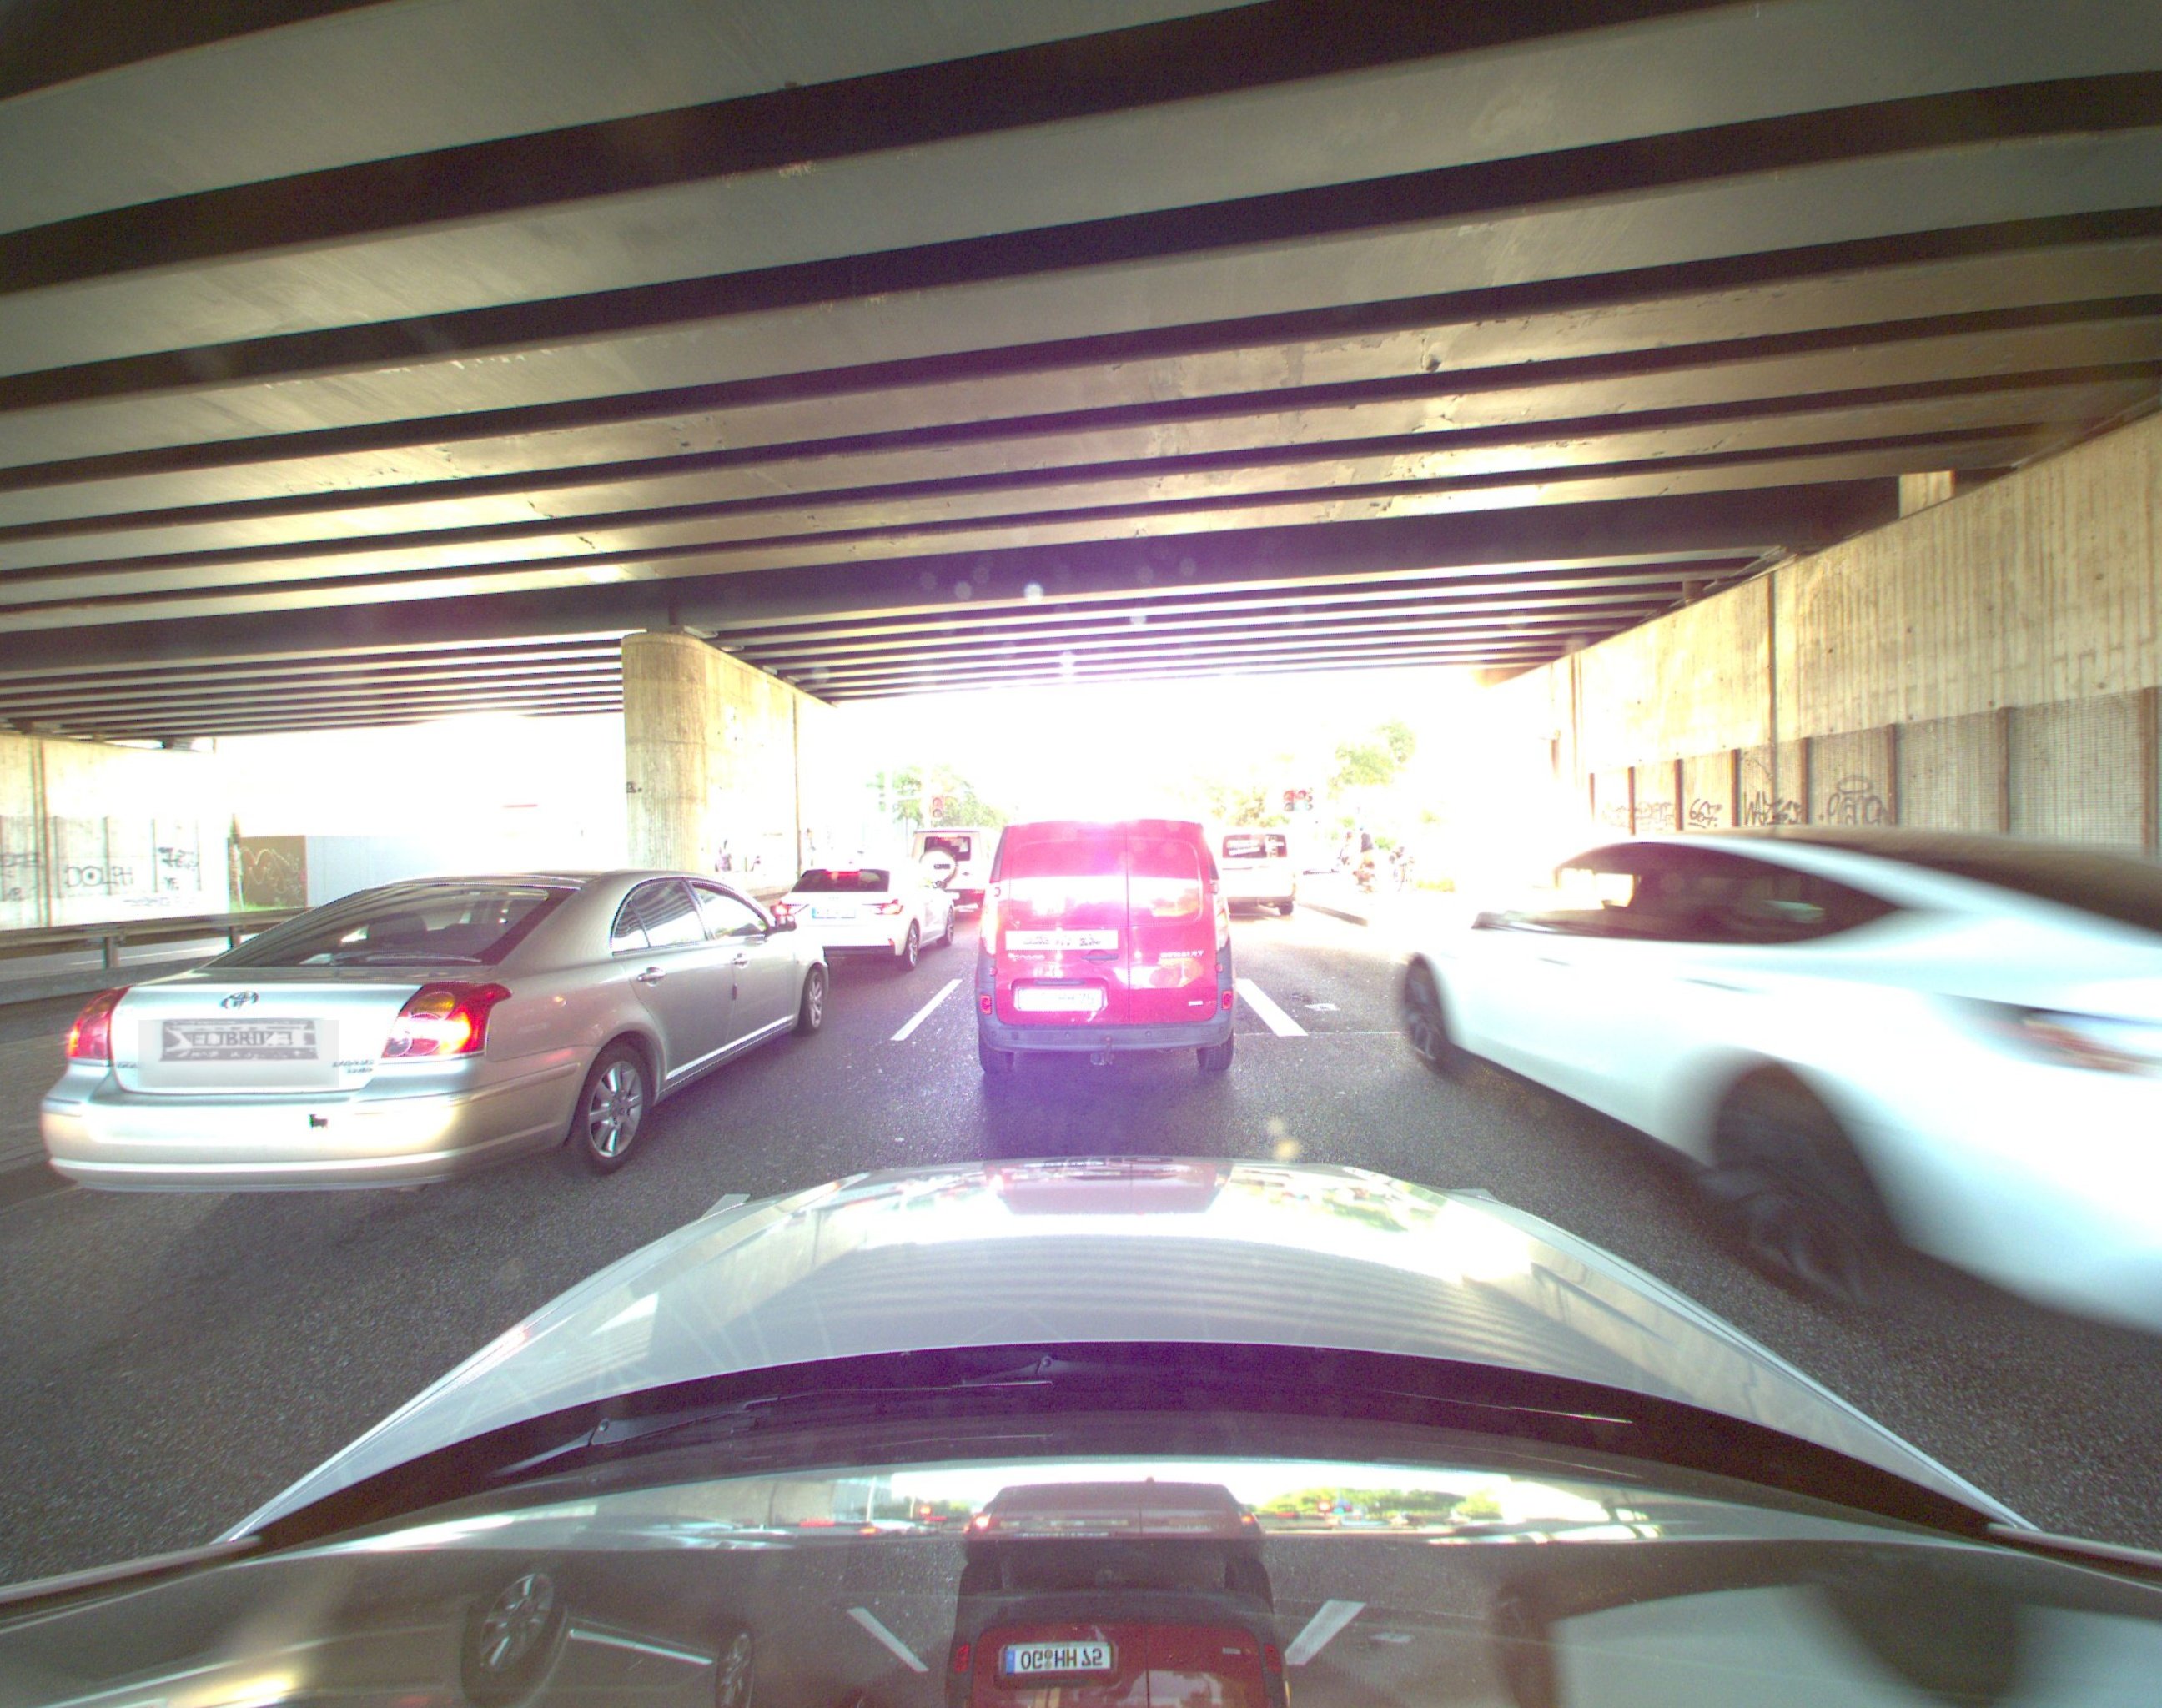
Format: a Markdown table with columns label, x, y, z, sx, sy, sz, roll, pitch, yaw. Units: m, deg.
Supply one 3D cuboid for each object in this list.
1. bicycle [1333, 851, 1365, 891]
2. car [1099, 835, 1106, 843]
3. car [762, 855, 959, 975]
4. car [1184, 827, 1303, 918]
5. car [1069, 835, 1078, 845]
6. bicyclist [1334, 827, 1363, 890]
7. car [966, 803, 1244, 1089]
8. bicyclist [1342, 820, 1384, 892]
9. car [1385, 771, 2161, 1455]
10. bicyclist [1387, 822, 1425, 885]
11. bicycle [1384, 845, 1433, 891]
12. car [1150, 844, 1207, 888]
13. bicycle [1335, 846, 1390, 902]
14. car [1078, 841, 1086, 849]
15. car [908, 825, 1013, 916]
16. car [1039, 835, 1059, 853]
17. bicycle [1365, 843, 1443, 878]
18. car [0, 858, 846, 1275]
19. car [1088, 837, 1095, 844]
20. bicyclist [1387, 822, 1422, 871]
| label | x | y | z | sx | sy | sz | roll | pitch | yaw |
| --- | --- | --- | --- | --- | --- | --- | --- | --- | --- |
| bicycle | 7.082 | 0.439 | 21.569 | 0.672 | 1.024 | 1.534 | 0 | 0 | 12 |
| car | 5.825 | -4.007 | 220.851 | 1.986 | 2.014 | 4.001 | 0 | 0 | 2 |
| car | -2.932 | 0.739 | 11.681 | 1.686 | 1.410 | 3.814 | 0 | 0 | 1 |
| car | 3.618 | 0.357 | 19.003 | 1.891 | 1.836 | 4.836 | 0 | 1 | 1 |
| car | -1.642 | -2.967 | 173.928 | 1.741 | 2.014 | 3.846 | 0 | 0 | 2 |
| bicyclist | 7.104 | 0.120 | 21.657 | 0.673 | 1.629 | 0.646 | 0 | -1 | 12 |
| car | 0.211 | 0.569 | 7.064 | 1.712 | 1.764 | 4.002 | 0 | 0 | 2 |
| bicyclist | 6.213 | 0.049 | 17.965 | 0.650 | 1.534 | 0.847 | -1 | 0 | 2 |
| car | 3.356 | 0.577 | 4.084 | 1.987 | 1.551 | 4.419 | -1 | 0 | 0 |
| bicyclist | 8.250 | -0.004 | 20.725 | 0.666 | 1.561 | 0.736 | -2 | -1 | 5 |
| bicycle | 8.248 | 0.349 | 20.569 | 0.678 | 1.113 | 1.606 | -2 | -1 | 5 |
| car | 3.433 | 0.401 | 29.279 | 1.739 | 1.456 | 3.719 | 0 | 0 | 2 |
| bicycle | 6.223 | 0.425 | 18.074 | 0.648 | 1.167 | 1.779 | -1 | 0 | 2 |
| car | 0.277 | -2.423 | 210.043 | 1.986 | 2.014 | 4.001 | 0 | 0 | 2 |
| car | -2.695 | 0.344 | 19.057 | 1.807 | 1.904 | 3.814 | 0 | 0 | 1 |
| car | -3.573 | -1.103 | 92.533 | 1.986 | 2.014 | 4.001 | 0 | 0 | 2 |
| bicycle | 11.236 | 0.224 | 28.374 | 2.458 | 1.146 | 0.766 | -1 | 0 | -6 |
| car | -3.006 | 0.775 | 5.127 | 1.690 | 1.455 | 4.399 | 0 | 0 | 1 |
| car | 3.265 | -4.253 | 253.483 | 1.922 | 2.014 | 3.915 | 0 | 0 | 2 |
| bicyclist | 11.254 | -0.256 | 28.374 | 0.882 | 1.655 | 0.748 | 0 | -1 | -5 |
